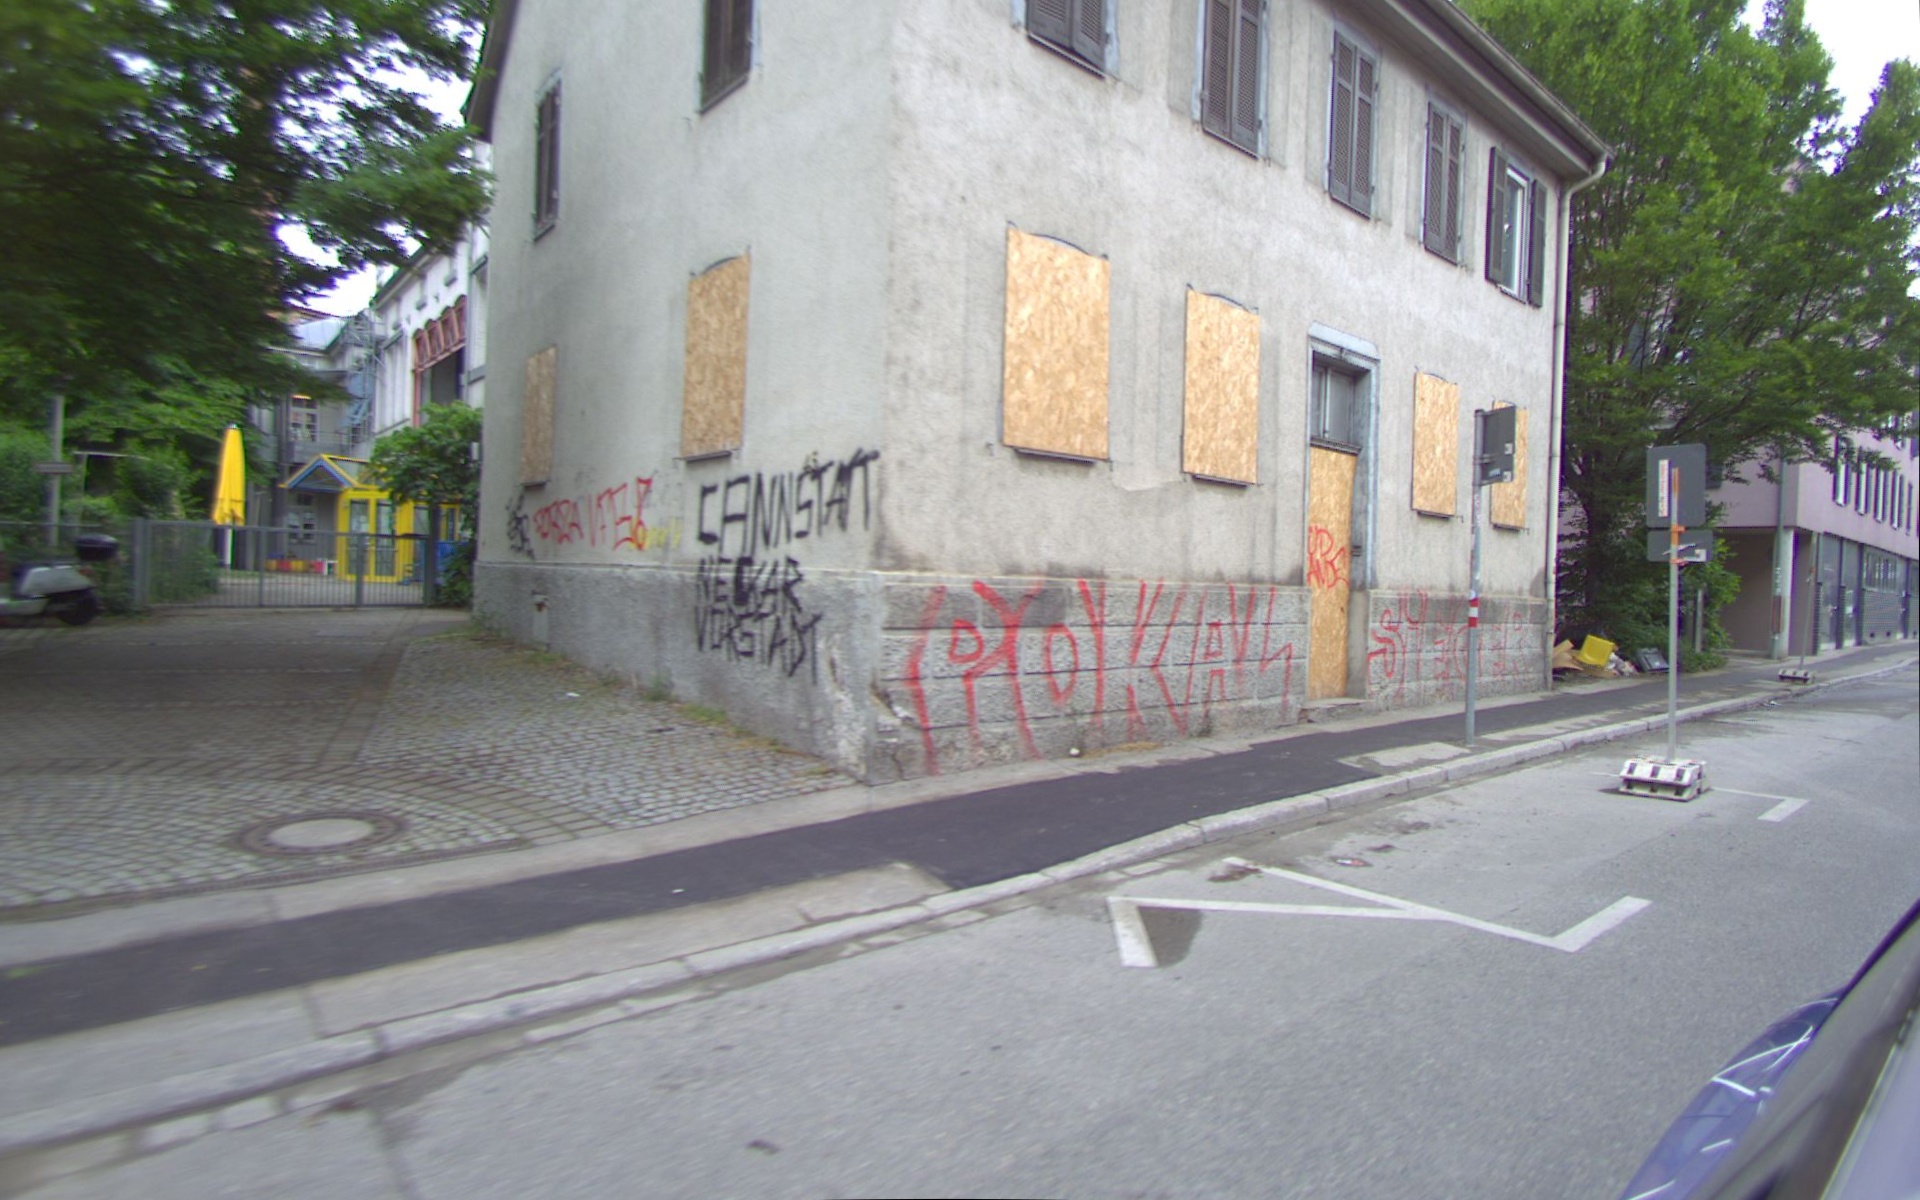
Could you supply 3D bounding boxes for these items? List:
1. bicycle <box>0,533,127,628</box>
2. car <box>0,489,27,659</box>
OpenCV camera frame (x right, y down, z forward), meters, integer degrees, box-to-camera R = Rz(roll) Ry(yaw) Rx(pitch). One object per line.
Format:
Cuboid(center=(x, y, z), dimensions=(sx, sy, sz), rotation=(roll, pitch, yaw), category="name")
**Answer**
Cuboid(center=(-11.331, -0.240, 12.256), dimensions=(1.862, 1.126, 0.457), rotation=(0, 1, -21), category="bicycle")
Cuboid(center=(-11.170, -0.304, 9.592), dimensions=(3.777, 1.629, 1.658), rotation=(2, 1, 15), category="car")
